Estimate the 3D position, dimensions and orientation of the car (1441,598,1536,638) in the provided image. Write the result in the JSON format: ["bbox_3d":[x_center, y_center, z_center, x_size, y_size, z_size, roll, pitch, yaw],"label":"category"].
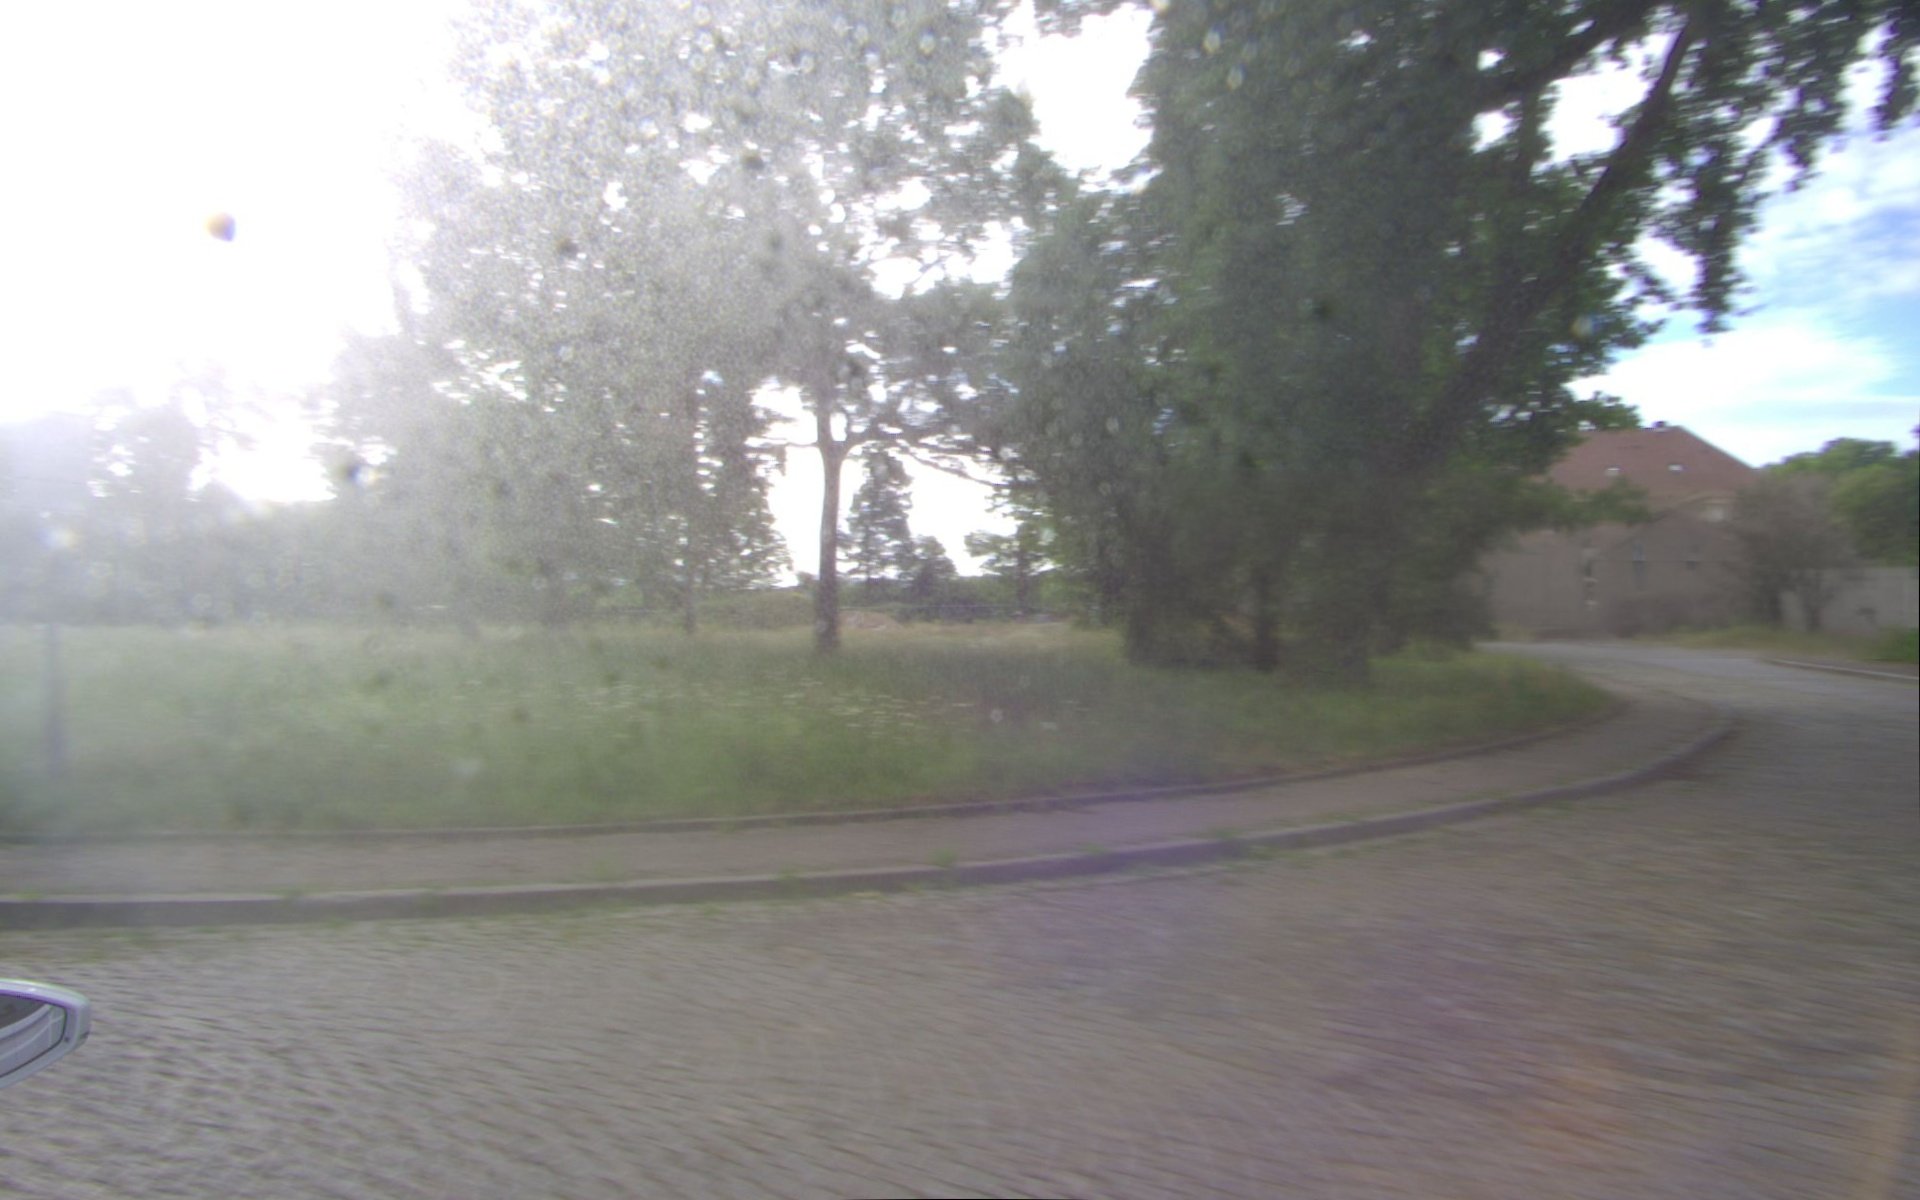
[{"bbox_3d":[31.582,1.060,59.988,4.855,2.334,1.919,0,0,22],"label":"car"}]

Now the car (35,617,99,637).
[{"bbox_3d":[-84.580,2.581,94.869,1.868,1.826,4.137,-1,-2,23],"label":"car"}]

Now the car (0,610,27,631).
[{"bbox_3d":[-94.819,2.000,97.634,2.070,2.045,5.307,-1,-2,22],"label":"car"}]
